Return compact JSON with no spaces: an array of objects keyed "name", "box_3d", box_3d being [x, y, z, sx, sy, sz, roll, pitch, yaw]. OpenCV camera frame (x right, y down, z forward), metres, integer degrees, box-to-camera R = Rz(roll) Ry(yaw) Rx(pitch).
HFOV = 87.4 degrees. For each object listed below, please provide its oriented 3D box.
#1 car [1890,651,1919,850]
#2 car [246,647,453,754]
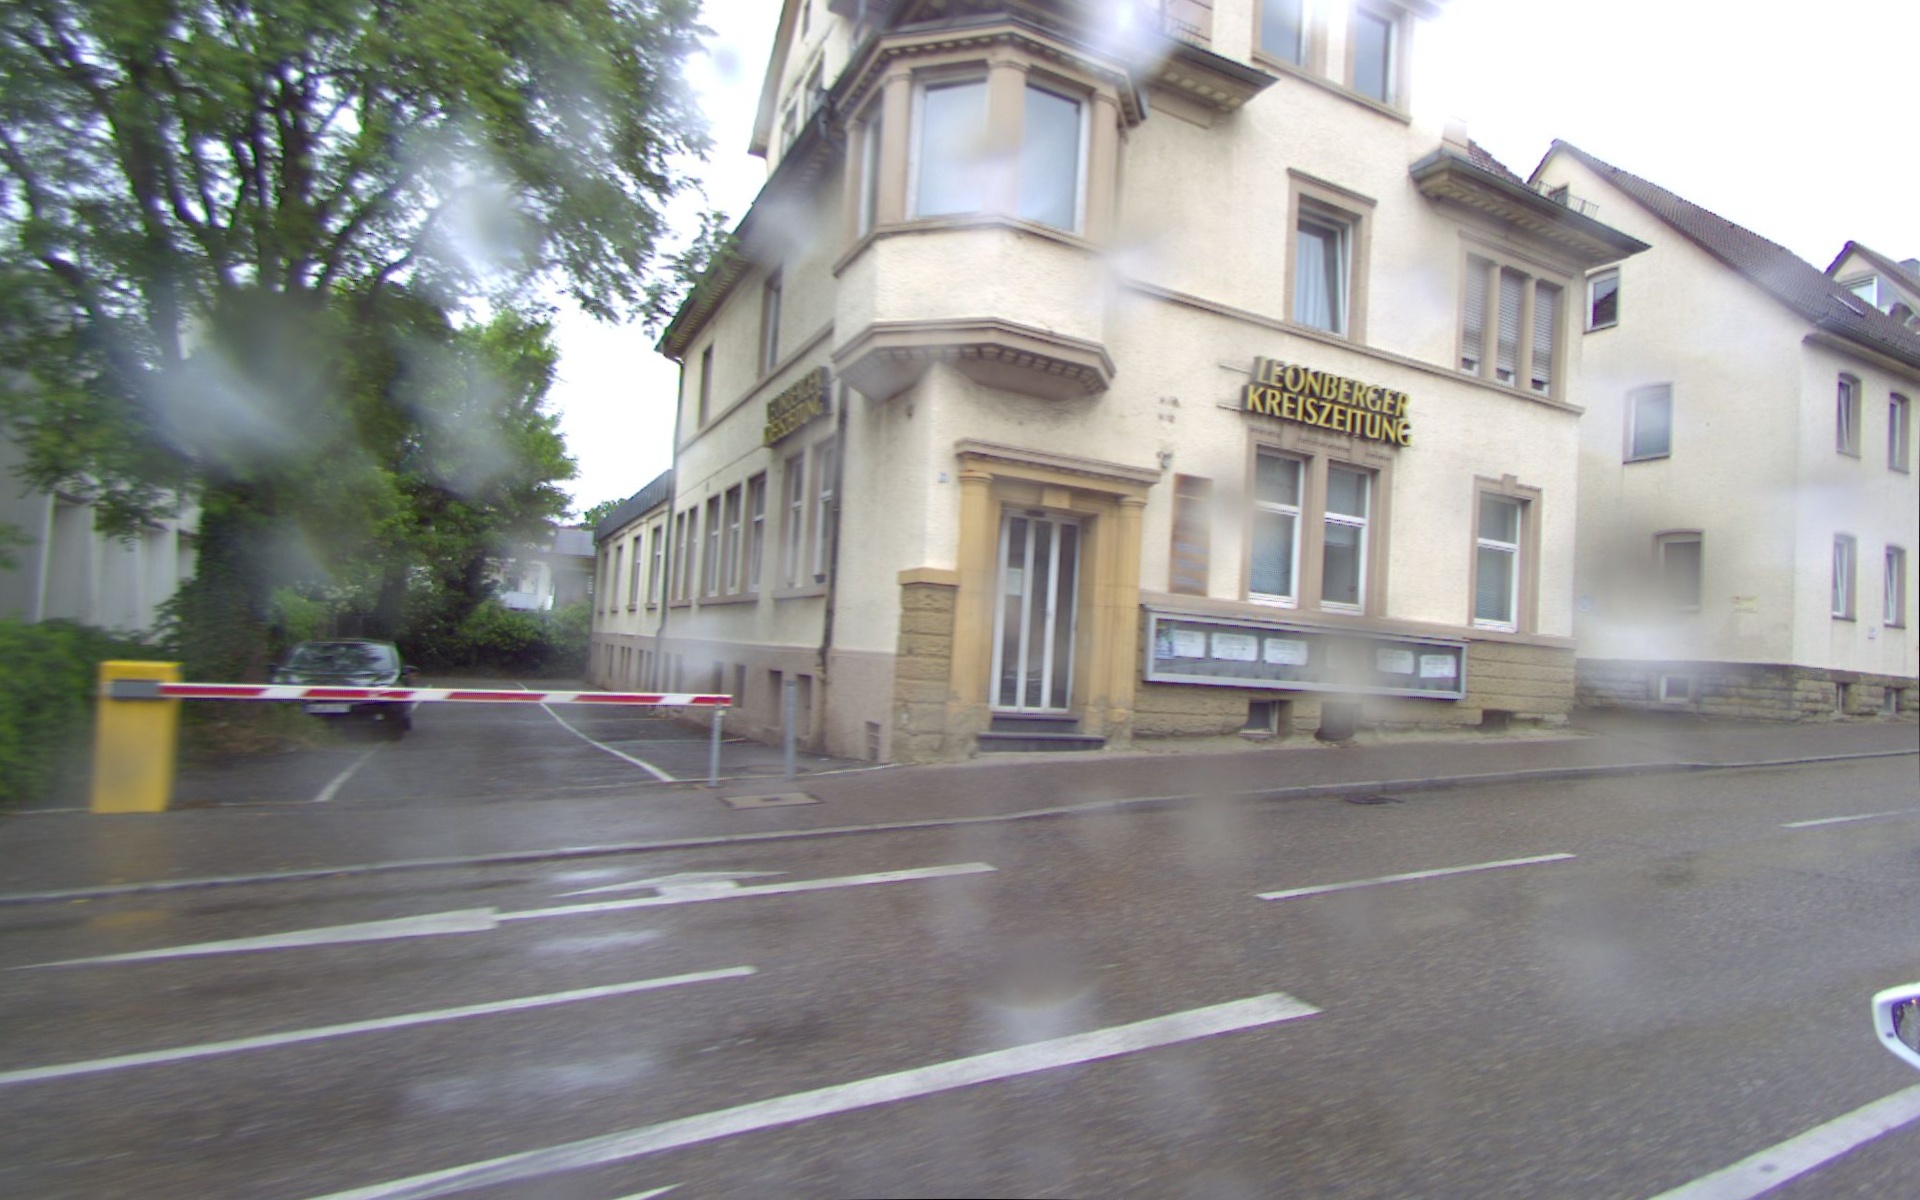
[{"name":"car","box_3d":[9.460,1.175,7.795,4.628,1.458,1.793,2,-2,-27]},{"name":"car","box_3d":[-9.032,1.444,15.244,1.758,1.387,3.986,1,-4,-18]}]
